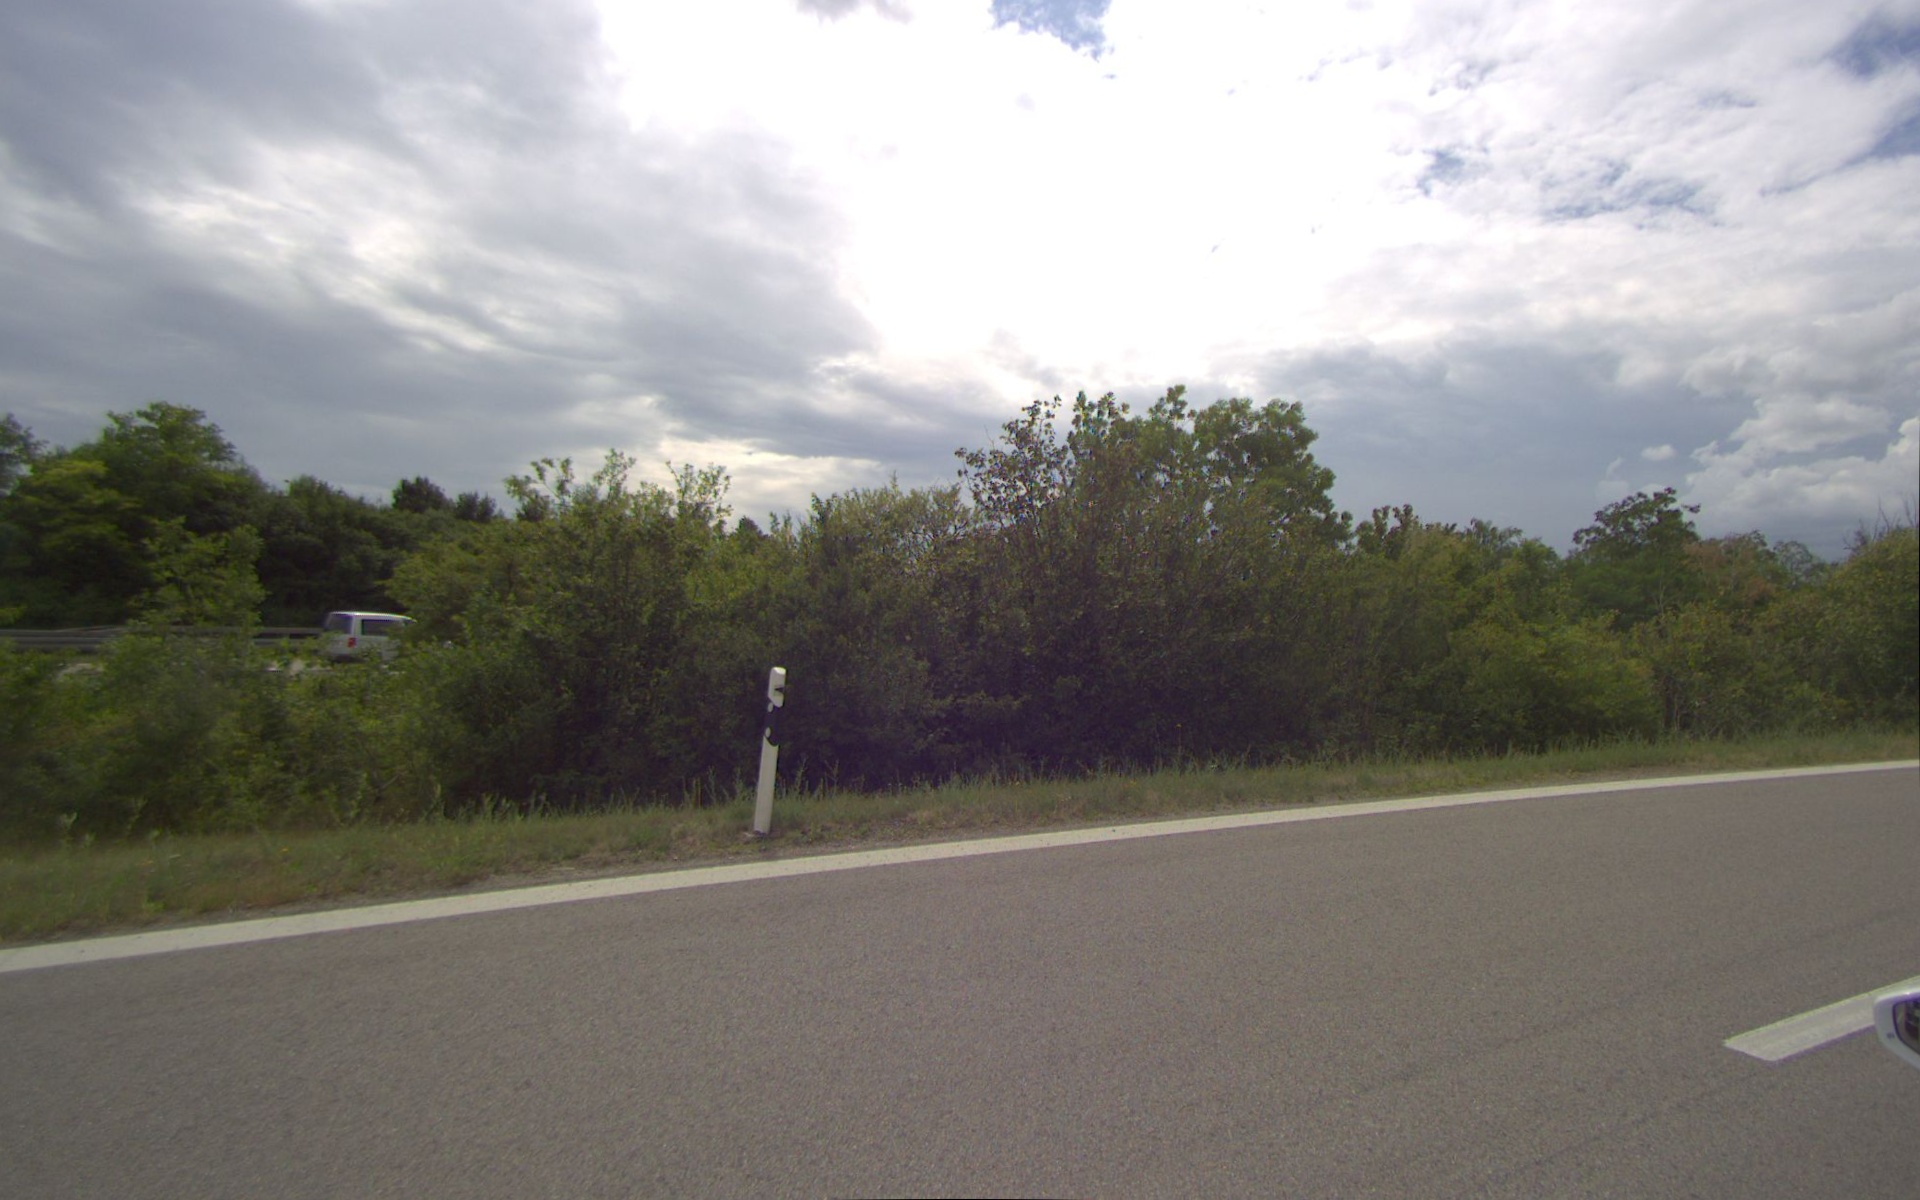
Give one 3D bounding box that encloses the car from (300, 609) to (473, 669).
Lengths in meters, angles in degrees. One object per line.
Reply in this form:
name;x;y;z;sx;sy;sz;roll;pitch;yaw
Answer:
car;-18.831;1.302;33.227;2.170;1.816;4.509;0;-2;26
